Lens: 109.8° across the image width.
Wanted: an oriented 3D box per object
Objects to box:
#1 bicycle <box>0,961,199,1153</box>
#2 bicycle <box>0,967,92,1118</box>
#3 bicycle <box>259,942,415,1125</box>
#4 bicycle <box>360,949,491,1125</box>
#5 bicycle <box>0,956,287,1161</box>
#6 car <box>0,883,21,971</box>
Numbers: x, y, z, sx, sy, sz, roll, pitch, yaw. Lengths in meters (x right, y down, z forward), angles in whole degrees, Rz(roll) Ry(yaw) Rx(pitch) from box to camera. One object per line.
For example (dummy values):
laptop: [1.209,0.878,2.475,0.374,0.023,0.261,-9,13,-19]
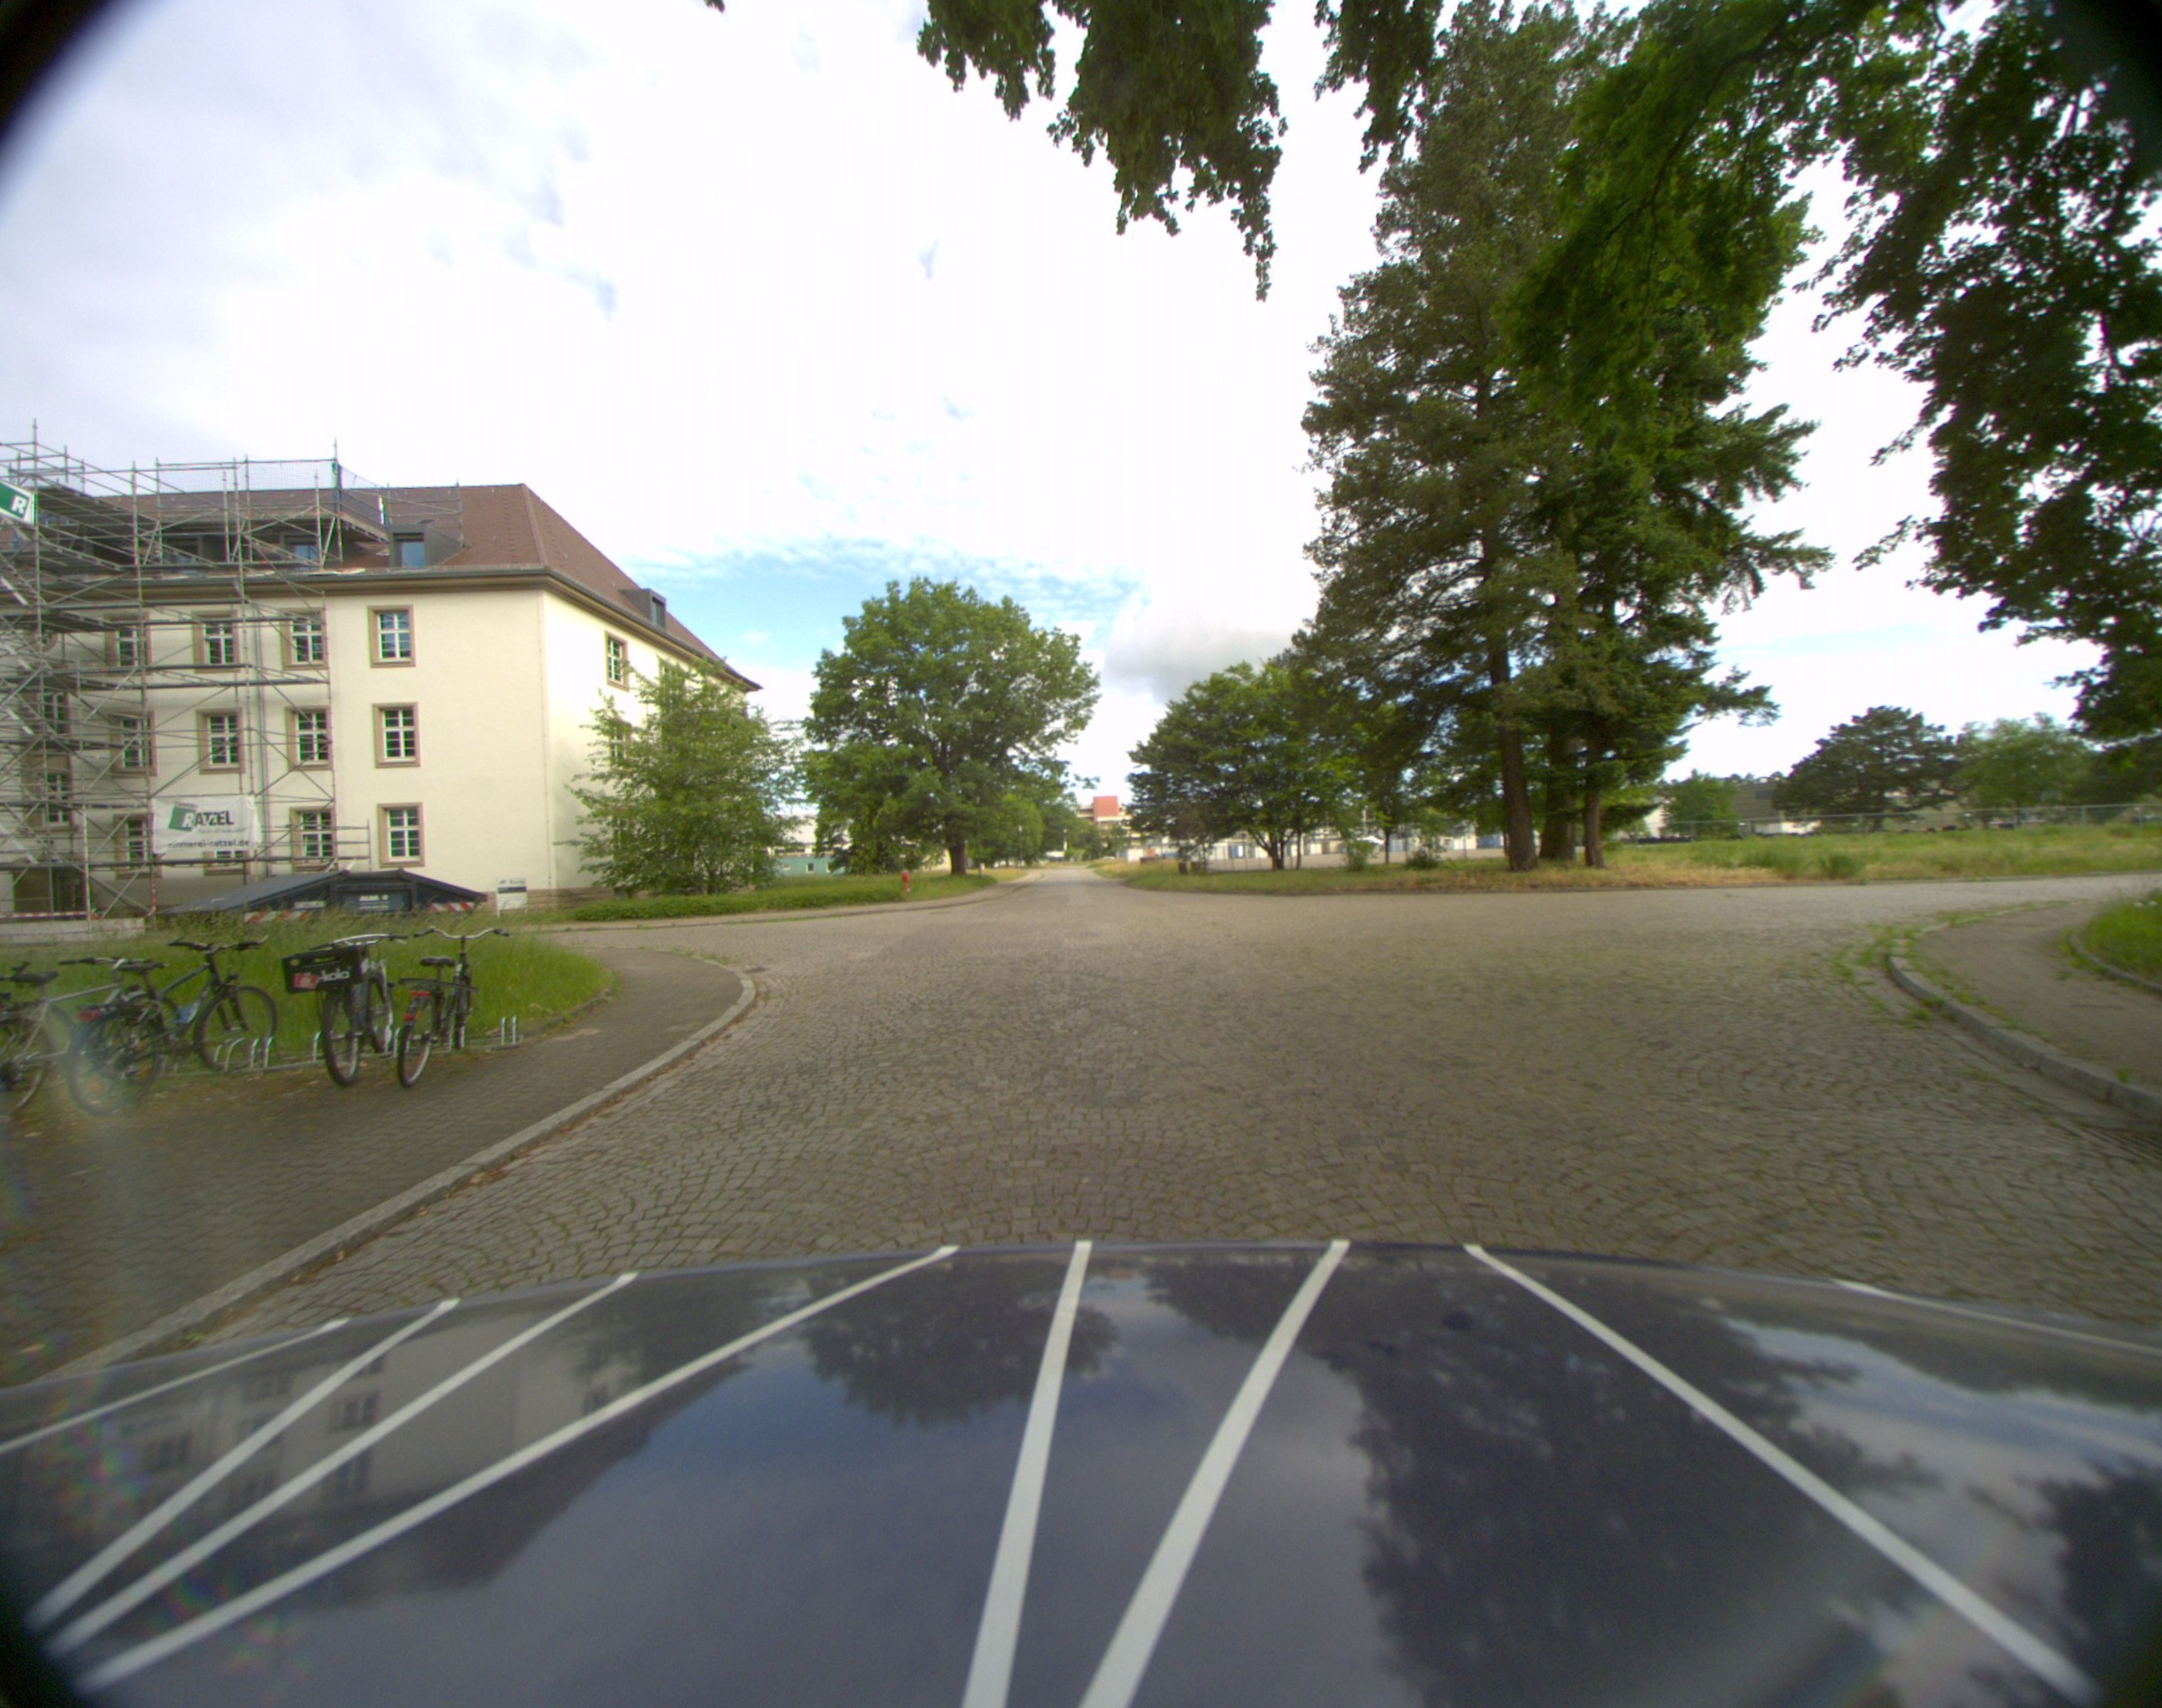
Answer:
bicycle: [-7.357,1.411,5.443,0.478,1.002,1.665,-3,2,-17]
bicycle: [-8.128,1.449,5.349,0.478,1.002,1.665,-3,2,-17]
bicycle: [-5.881,1.343,6.093,0.478,1.068,1.618,-4,2,-31]
bicycle: [-5.170,1.369,6.077,0.478,1.002,1.618,-4,2,-31]
bicycle: [-6.747,1.381,5.561,0.478,1.002,1.665,-3,2,-17]
car: [-25.629,1.716,14.999,1.967,1.985,5.275,-2,0,-1]
